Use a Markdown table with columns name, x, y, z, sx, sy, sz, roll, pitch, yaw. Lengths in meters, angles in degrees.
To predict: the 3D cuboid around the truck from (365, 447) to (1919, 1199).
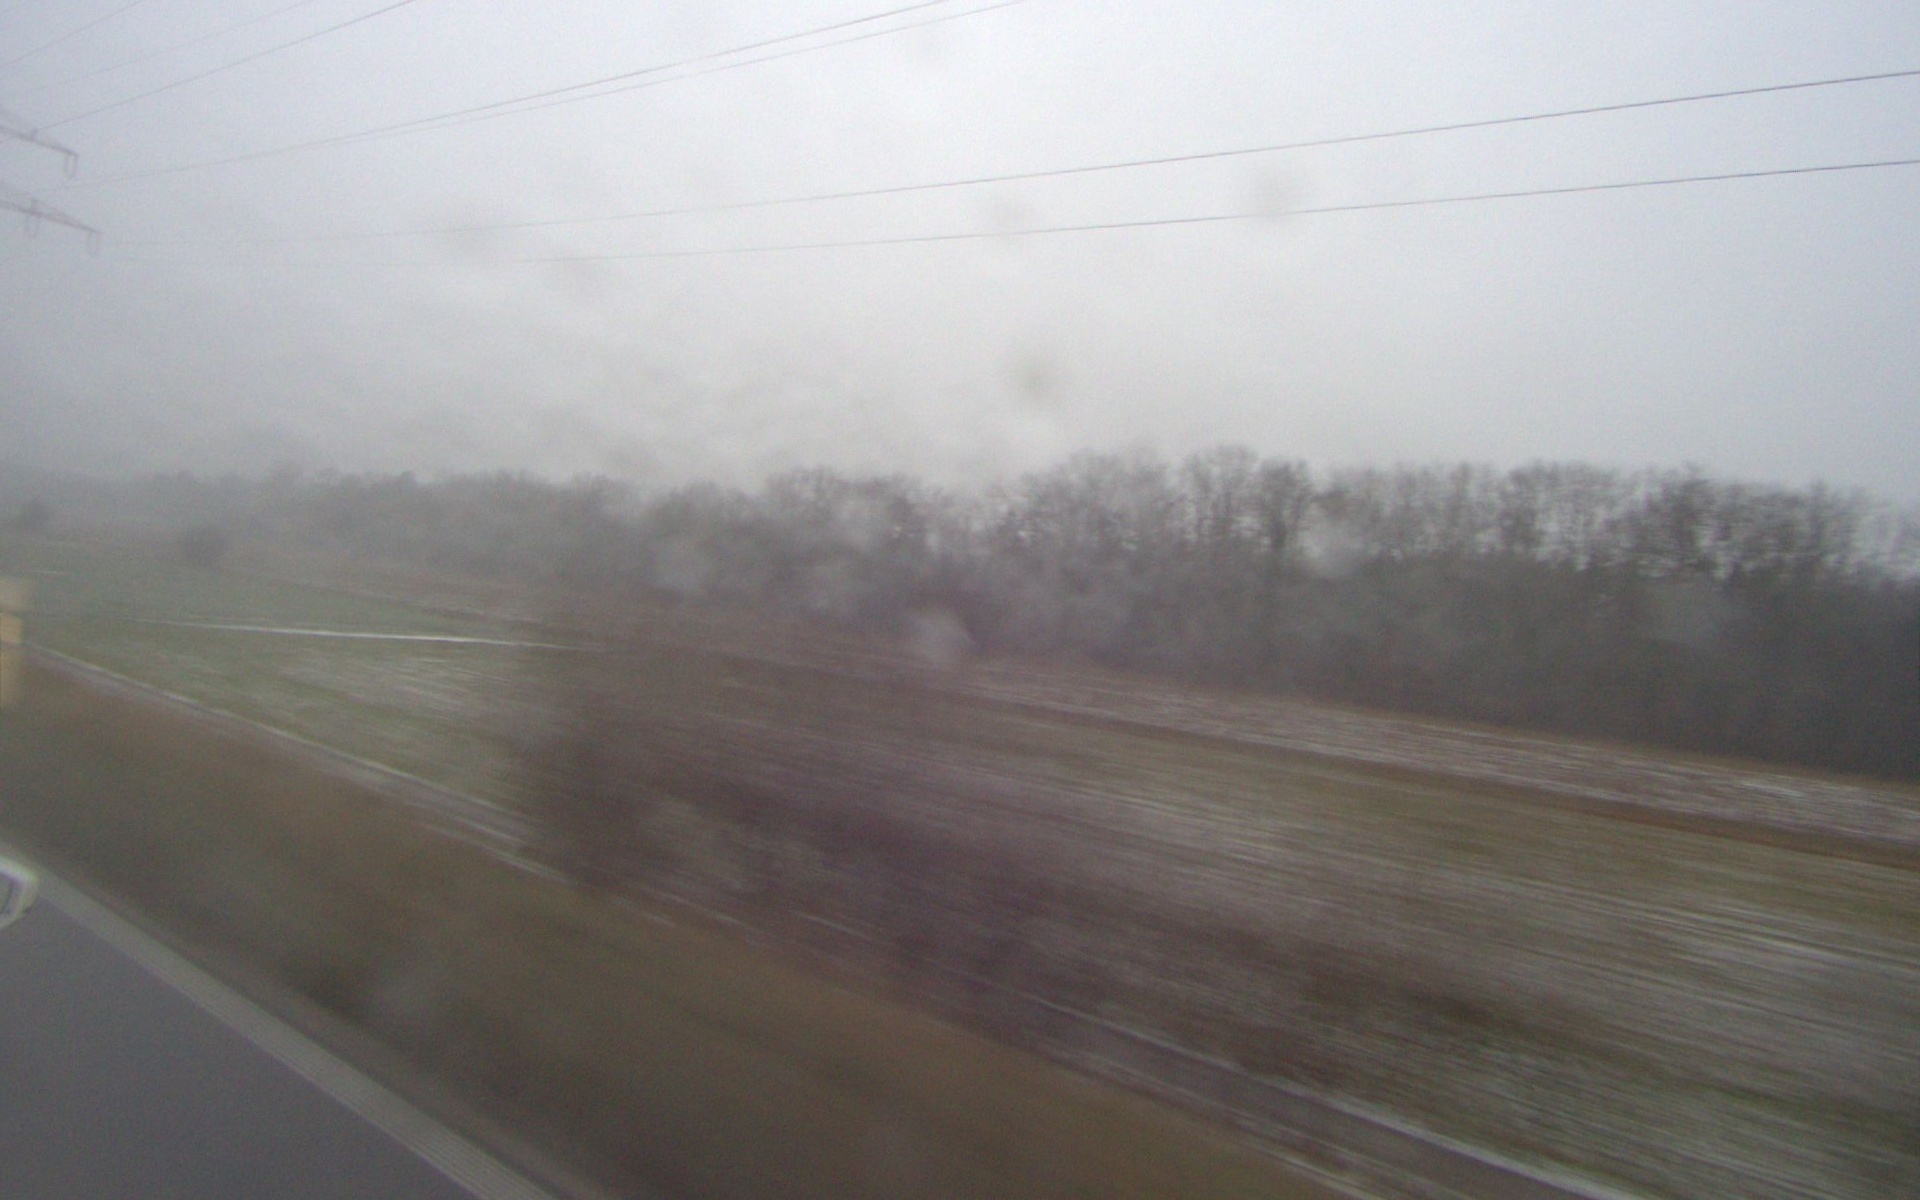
| name | x | y | z | sx | sy | sz | roll | pitch | yaw |
| --- | --- | --- | --- | --- | --- | --- | --- | --- | --- |
| truck | 0.224 | 0.615 | 7.096 | 10.622 | 2.601 | 2.509 | 7 | -1 | 30 |
